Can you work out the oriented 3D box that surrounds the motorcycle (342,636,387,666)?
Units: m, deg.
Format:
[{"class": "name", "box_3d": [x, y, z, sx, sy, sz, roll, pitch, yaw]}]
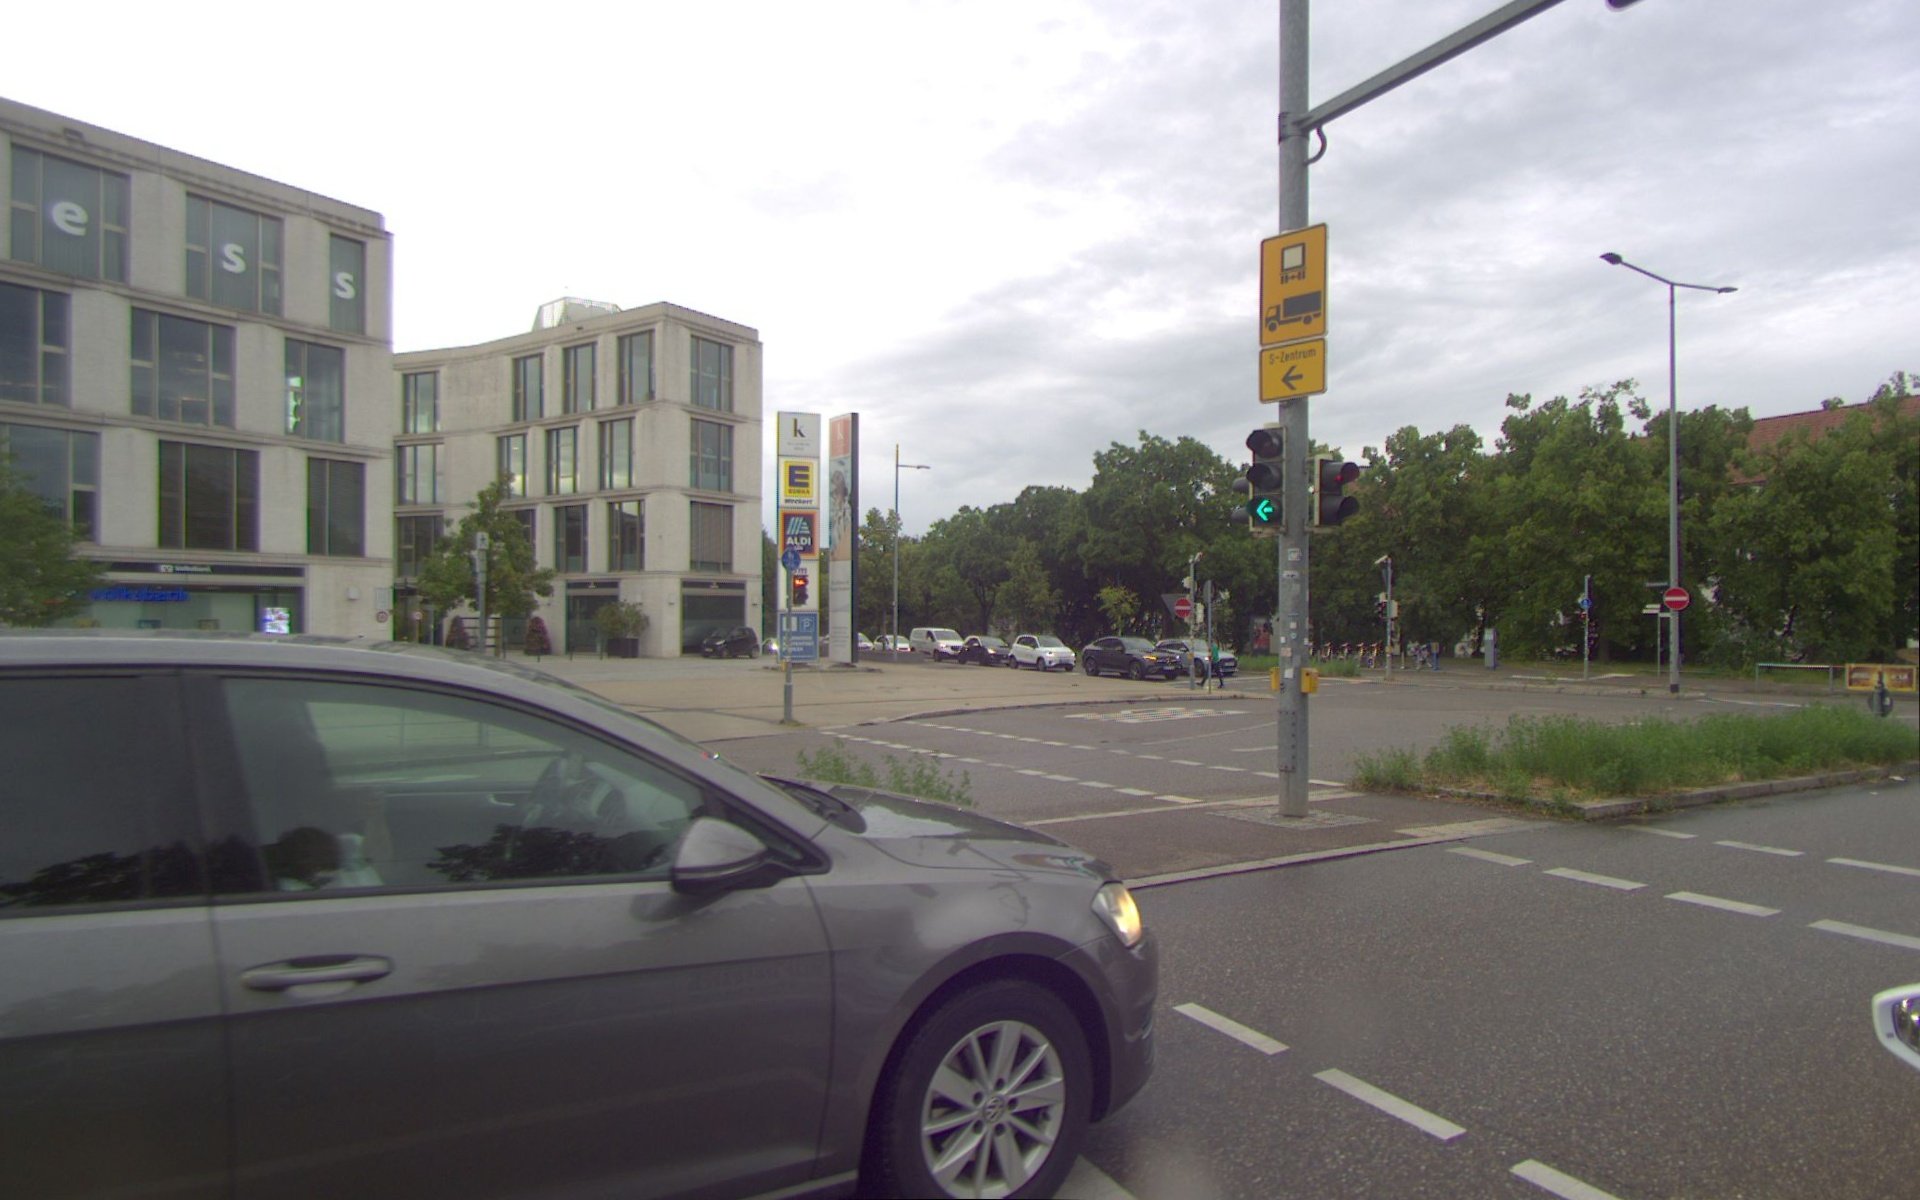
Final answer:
[{"class": "motorcycle", "box_3d": [-15.867, 1.352, 26.760, 1.081, 0.750, 0.522, 2, 0, 29]}]

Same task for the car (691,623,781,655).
[{"class": "car", "box_3d": [-10.907, 1.896, 49.195, 1.968, 1.483, 3.985, 0, -2, 37]}]

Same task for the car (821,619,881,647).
[{"class": "car", "box_3d": [-7.121, 2.105, 64.975, 1.977, 1.615, 4.853, 2, -1, -31]}]

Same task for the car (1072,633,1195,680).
[{"class": "car", "box_3d": [6.636, 2.146, 39.048, 1.976, 1.520, 5.001, 2, -1, -29]}]

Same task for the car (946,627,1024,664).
[{"class": "car", "box_3d": [1.196, 2.220, 49.787, 1.976, 1.615, 4.185, 2, -1, -29]}]

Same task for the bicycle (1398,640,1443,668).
[{"class": "bicycle", "box_3d": [22.031, 2.576, 48.009, 1.958, 1.266, 0.986, 2, -1, -30]}]

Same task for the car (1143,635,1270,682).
[{"class": "car", "box_3d": [9.682, 2.269, 39.872, 1.976, 1.568, 5.001, 2, -1, -29]}]

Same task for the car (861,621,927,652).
[{"class": "car", "box_3d": [-3.941, 2.151, 59.243, 1.976, 1.615, 4.856, 2, -1, -29]}]

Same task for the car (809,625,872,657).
[{"class": "car", "box_3d": [-7.016, 2.361, 58.558, 1.976, 1.615, 4.856, 2, -1, -29]}]

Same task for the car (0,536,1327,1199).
[{"class": "car", "box_3d": [-1.254, 0.692, 2.596, 4.325, 1.501, 1.807, 2, -2, -30]}]

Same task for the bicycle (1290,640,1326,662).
[{"class": "bicycle", "box_3d": [18.560, 2.714, 53.524, 1.959, 1.085, 0.649, 2, 0, -30]}]

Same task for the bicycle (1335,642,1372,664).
[{"class": "bicycle", "box_3d": [19.955, 2.695, 50.929, 1.959, 1.085, 0.649, 2, 0, -30]}]

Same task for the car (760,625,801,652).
[{"class": "car", "box_3d": [-14.150, 3.010, 79.188, 1.976, 2.040, 3.970, 2, -2, -29]}]

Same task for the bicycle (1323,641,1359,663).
[{"class": "bicycle", "box_3d": [19.657, 2.682, 51.790, 1.959, 1.085, 0.649, 2, 0, -30]}]

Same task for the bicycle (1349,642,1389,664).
[{"class": "bicycle", "box_3d": [20.524, 2.660, 50.402, 1.959, 1.085, 0.798, 2, -1, -30]}]

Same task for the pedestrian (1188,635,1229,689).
[{"class": "pedestrian", "box_3d": [8.308, 2.061, 33.586, 0.932, 1.750, 0.921, 2, 0, -21]}]

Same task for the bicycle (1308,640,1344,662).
[{"class": "bicycle", "box_3d": [19.228, 2.698, 52.792, 1.959, 1.085, 0.649, 2, 0, -30]}]

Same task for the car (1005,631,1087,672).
[{"class": "car", "box_3d": [3.814, 2.286, 44.845, 1.976, 1.615, 3.536, 2, -1, -29]}]

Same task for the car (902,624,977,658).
[{"class": "car", "box_3d": [-1.171, 2.189, 54.243, 1.976, 1.615, 4.856, 2, -1, -29]}]
